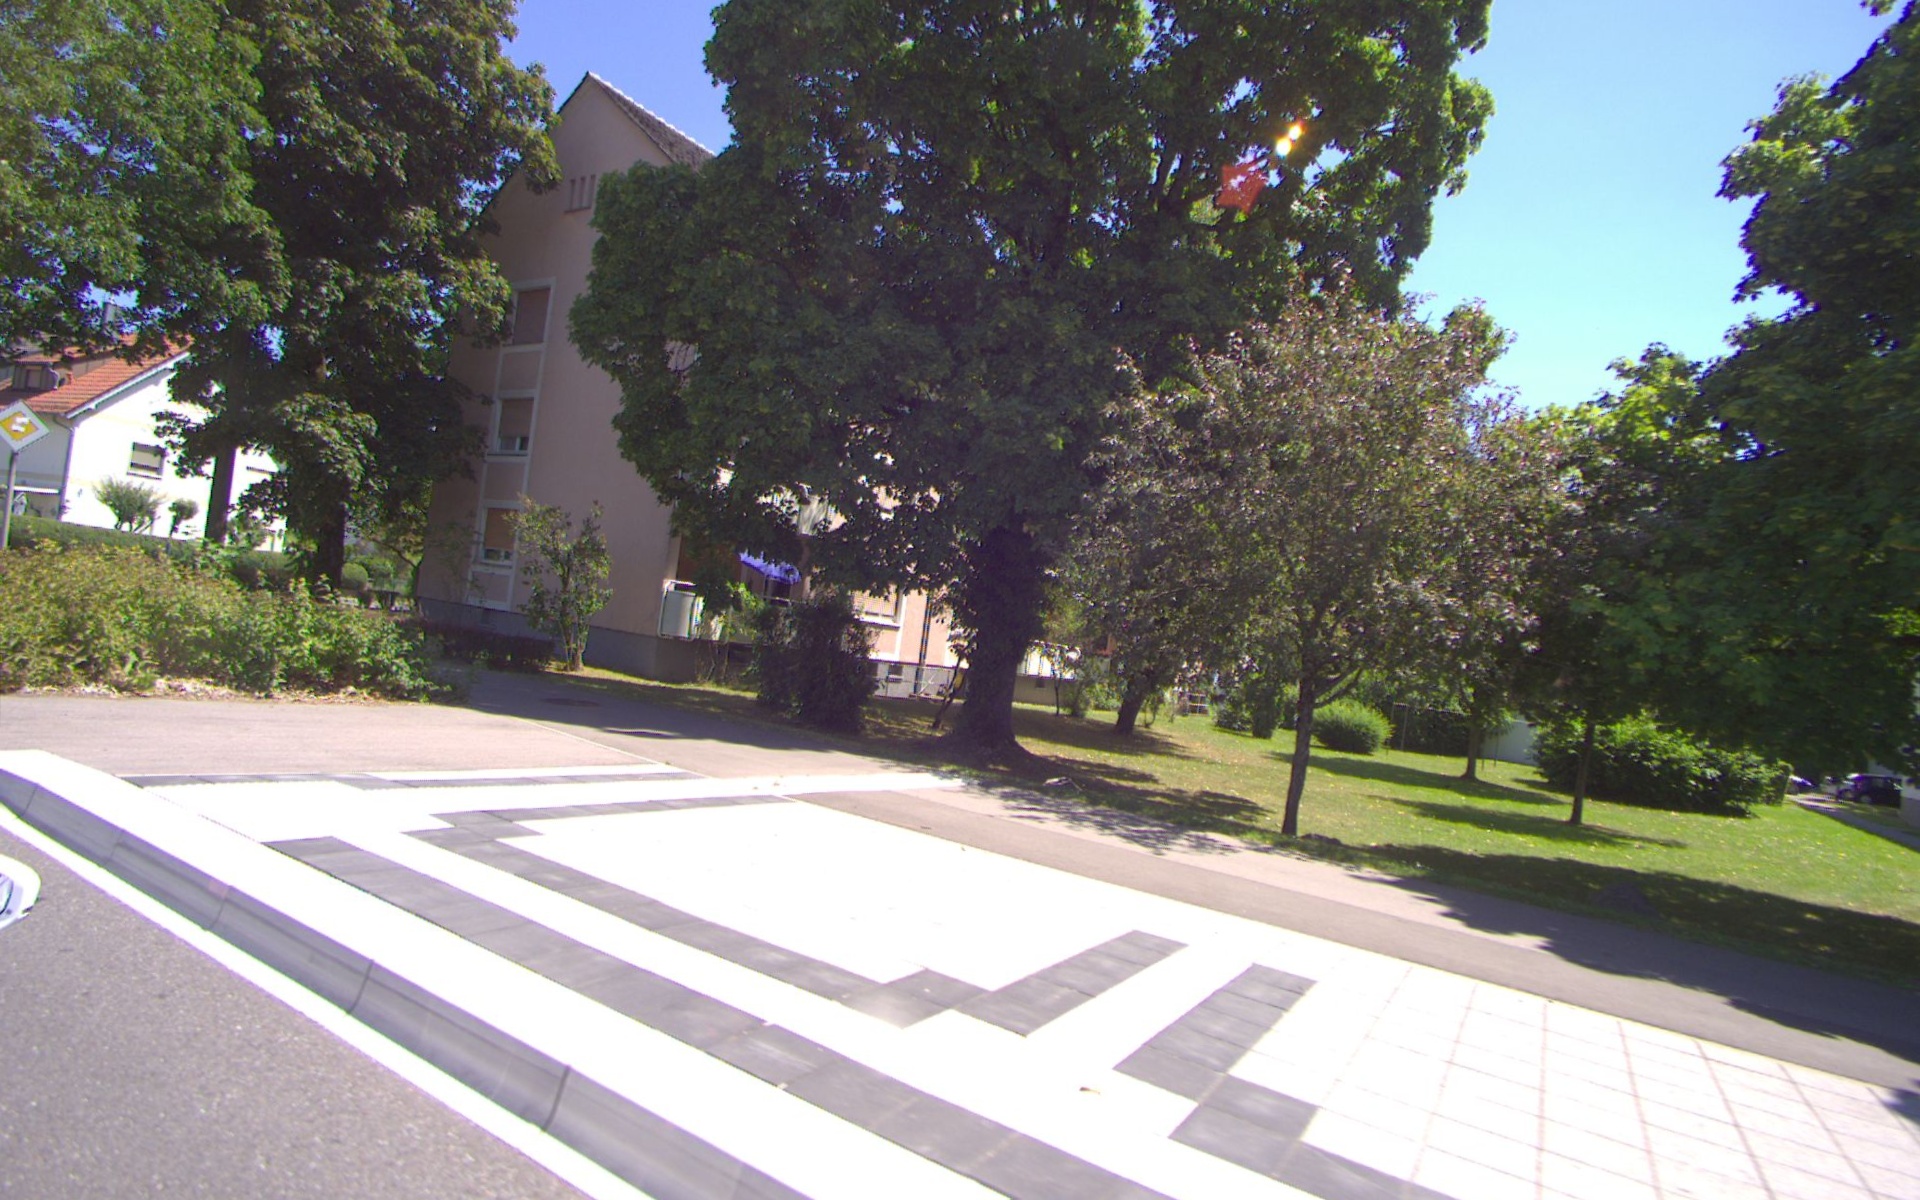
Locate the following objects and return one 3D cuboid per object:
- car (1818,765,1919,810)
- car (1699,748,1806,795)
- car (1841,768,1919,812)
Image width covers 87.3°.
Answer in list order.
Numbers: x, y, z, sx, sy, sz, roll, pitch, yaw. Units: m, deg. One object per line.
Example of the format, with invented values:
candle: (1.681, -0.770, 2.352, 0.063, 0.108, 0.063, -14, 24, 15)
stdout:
car: (47.068, 9.674, 51.875, 3.937, 1.563, 1.997, 6, -3, 35)
car: (39.712, 8.578, 50.540, 3.937, 1.569, 1.997, 6, -3, 35)
car: (44.610, 9.104, 47.711, 3.937, 1.569, 1.997, 6, -3, 35)
